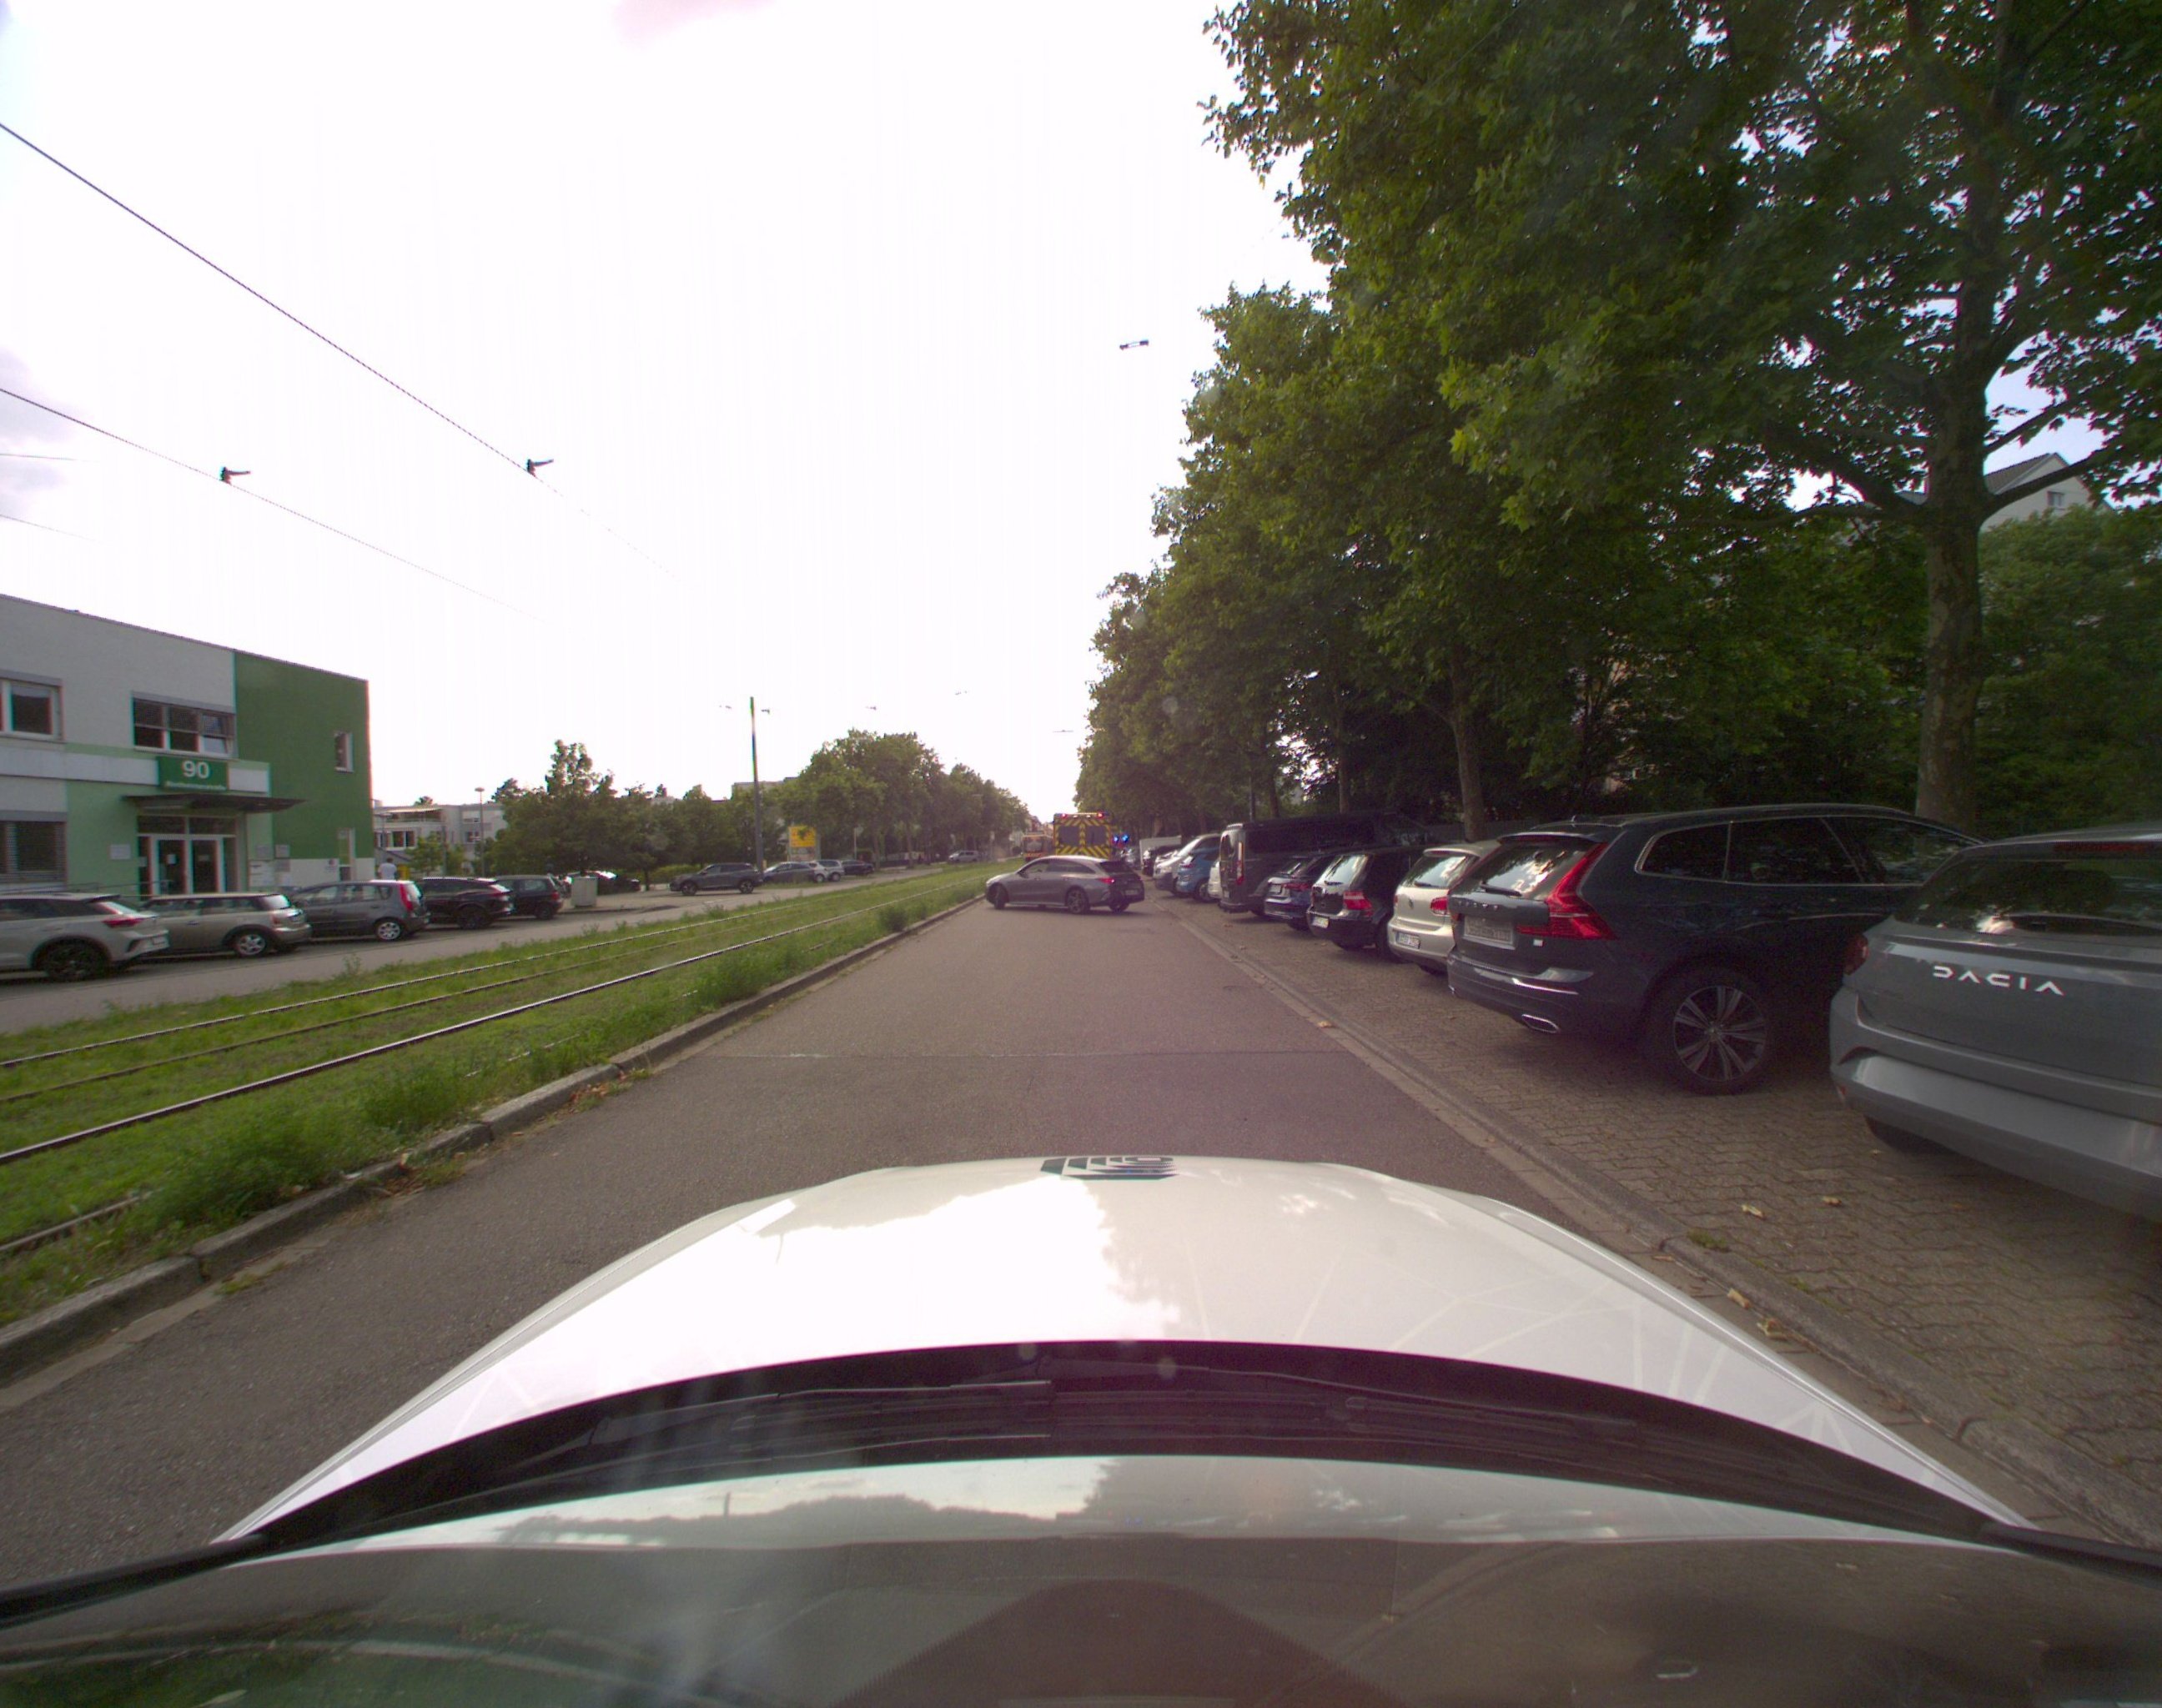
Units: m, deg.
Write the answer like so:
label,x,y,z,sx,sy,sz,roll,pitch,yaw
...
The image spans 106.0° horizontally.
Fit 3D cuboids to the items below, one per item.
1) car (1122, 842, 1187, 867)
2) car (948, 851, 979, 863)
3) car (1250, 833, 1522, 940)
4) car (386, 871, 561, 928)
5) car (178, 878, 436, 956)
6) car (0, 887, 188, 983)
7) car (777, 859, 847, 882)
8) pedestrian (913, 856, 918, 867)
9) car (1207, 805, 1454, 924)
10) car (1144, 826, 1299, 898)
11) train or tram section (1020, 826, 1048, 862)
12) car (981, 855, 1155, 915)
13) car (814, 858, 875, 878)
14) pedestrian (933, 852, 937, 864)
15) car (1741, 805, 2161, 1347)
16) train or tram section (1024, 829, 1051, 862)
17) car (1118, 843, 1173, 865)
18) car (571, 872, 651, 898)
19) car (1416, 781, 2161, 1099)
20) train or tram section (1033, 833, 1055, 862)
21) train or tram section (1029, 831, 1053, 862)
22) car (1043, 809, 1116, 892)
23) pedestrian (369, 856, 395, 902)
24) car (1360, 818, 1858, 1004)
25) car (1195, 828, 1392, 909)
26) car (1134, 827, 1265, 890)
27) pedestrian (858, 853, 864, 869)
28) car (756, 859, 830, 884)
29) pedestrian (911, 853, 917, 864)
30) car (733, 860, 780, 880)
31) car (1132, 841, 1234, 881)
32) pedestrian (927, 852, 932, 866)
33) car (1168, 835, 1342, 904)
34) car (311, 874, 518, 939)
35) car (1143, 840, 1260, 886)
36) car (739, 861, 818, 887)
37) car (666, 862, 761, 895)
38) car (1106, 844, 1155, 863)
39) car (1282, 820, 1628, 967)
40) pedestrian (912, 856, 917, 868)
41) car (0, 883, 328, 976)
label,x,y,z,sx,sy,sz,roll,pitch,yaw
car,5.451,0.052,60.822,4.537,1.608,1.853,-3,0,-4
car,-18.668,0.498,129.651,4.651,1.633,1.861,-3,0,-39
car,5.066,0.525,13.910,3.953,1.494,1.755,-3,0,-1
car,-19.433,1.402,26.333,4.247,1.482,1.866,-3,1,-29
car,-18.985,1.479,20.289,4.247,1.482,1.866,-3,1,-29
car,-19.120,1.469,14.300,4.252,1.482,1.863,-3,1,-34
car,-18.791,1.135,56.913,4.253,1.482,1.863,-1,0,-36
pedestrian,-21.355,0.970,105.215,0.417,1.414,0.470,-2,0,25
car,5.089,0.205,17.037,4.532,2.123,1.855,-3,0,-1
car,4.420,0.239,26.036,4.537,2.000,1.853,-3,0,-4
train or tram section,-5.088,-1.035,89.107,2.504,3.584,7.443,-3,0,0
car,-0.418,0.736,21.107,4.410,1.385,1.778,0,0,39
car,-18.898,1.138,65.117,4.256,1.482,1.861,-1,0,-40
pedestrian,-22.140,0.574,123.817,0.465,1.828,0.422,-2,0,-2
car,5.219,0.520,2.825,4.364,1.501,1.757,-3,0,1
train or tram section,-5.085,-0.971,96.538,2.504,3.584,7.443,-3,0,0
car,5.576,0.008,70.673,4.537,1.608,1.853,-3,0,-4
car,-29.450,1.939,51.129,3.971,1.565,1.778,0,-1,2
car,4.836,0.470,5.508,4.364,1.639,1.757,-3,0,1
train or tram section,-5.054,-0.844,111.424,2.504,3.584,7.443,-3,0,0
train or tram section,-5.073,-0.908,103.982,2.504,3.584,7.443,-3,0,0
car,0.051,-0.129,32.640,2.631,2.966,6.302,1,0,2
pedestrian,-28.320,0.993,32.992,0.544,1.828,0.508,-2,0,-2
car,5.160,0.519,8.361,3.953,1.494,1.756,-3,0,-1
car,5.365,0.346,20.971,4.532,1.766,1.855,-3,0,-1
car,4.400,0.156,30.631,4.537,2.043,1.853,-3,0,-4
pedestrian,-23.150,0.711,85.762,0.465,1.676,0.603,-2,0,-2
car,-19.040,1.135,53.860,4.253,1.482,1.863,-1,0,-36
pedestrian,-23.027,0.652,112.554,0.631,1.551,0.622,-2,0,-3
car,-29.697,1.412,74.436,3.949,1.750,2.013,0,0,31
car,4.877,0.323,39.261,4.537,1.608,1.853,-3,0,-4
pedestrian,-18.524,0.592,99.469,0.420,1.730,0.467,-2,0,-5
car,4.937,0.424,23.502,4.538,1.660,1.853,-3,0,-5
car,-18.888,1.433,23.367,4.247,1.482,1.866,-3,1,-29
car,4.992,0.367,34.105,4.537,1.608,1.853,-3,0,-4
car,-18.898,1.206,50.953,4.253,1.482,1.863,-1,0,-36
car,-18.388,1.196,40.850,4.242,1.482,1.868,-1,0,-25
car,4.781,-0.049,78.904,4.537,1.608,1.853,-3,0,-4
car,4.987,0.463,11.086,3.967,1.605,1.750,-3,0,-11
pedestrian,-21.147,0.979,103.382,0.420,1.473,0.467,-2,0,-5
car,-19.147,1.494,17.279,4.247,1.482,1.866,-3,1,-29
